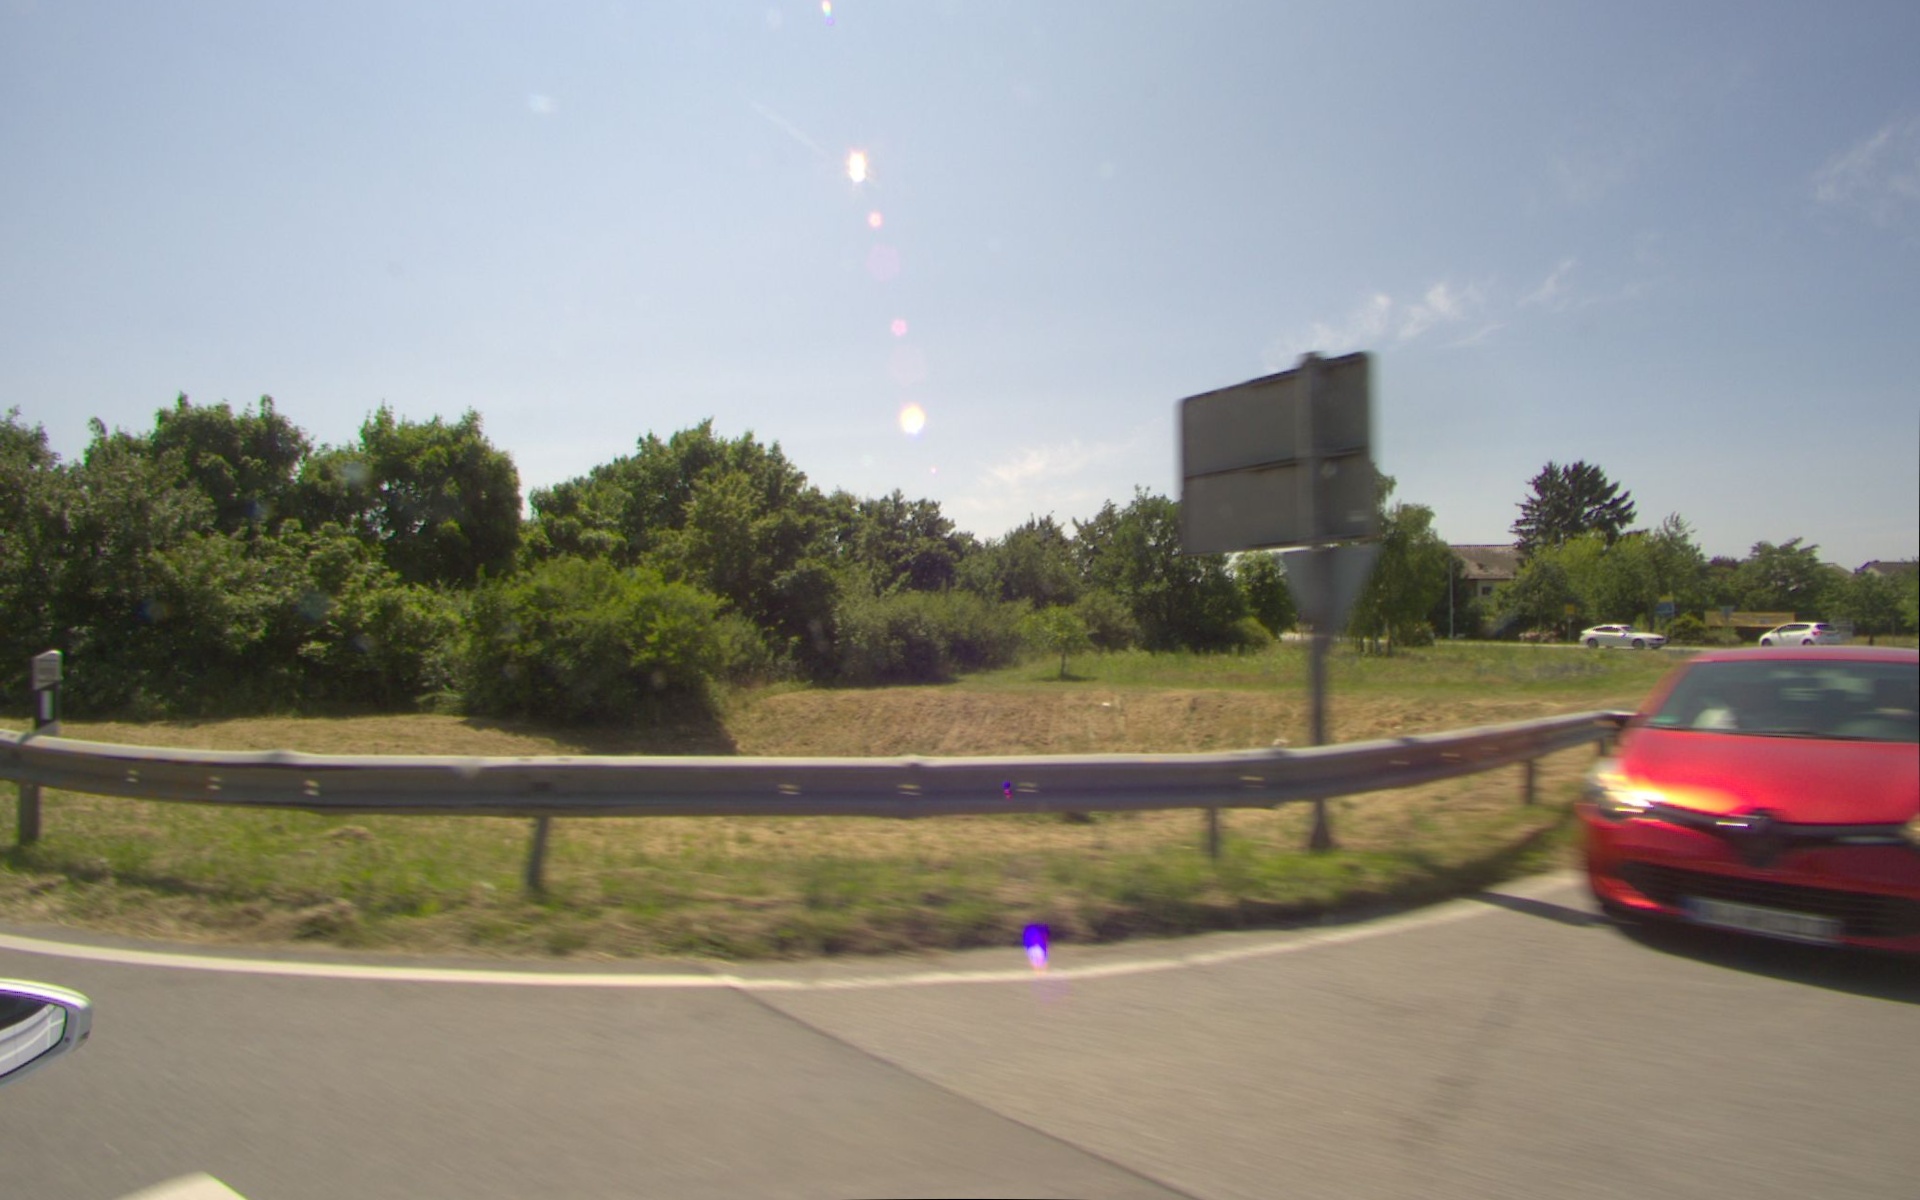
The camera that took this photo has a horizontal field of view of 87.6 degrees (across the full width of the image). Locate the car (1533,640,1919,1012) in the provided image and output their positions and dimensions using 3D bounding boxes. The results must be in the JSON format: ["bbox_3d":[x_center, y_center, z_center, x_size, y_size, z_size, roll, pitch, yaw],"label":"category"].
[{"bbox_3d":[4.875,0.953,5.703,4.127,1.436,1.762,2,-3,-44],"label":"car"}]

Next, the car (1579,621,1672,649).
[{"bbox_3d":[41.393,2.176,62.426,1.618,1.644,4.751,1,-1,-23],"label":"car"}]

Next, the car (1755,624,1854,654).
[{"bbox_3d":[48.723,2.199,57.891,2.031,1.644,4.143,0,-1,-4],"label":"car"}]

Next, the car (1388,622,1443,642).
[{"bbox_3d":[37.914,2.637,83.364,1.621,1.644,3.980,1,-1,-29],"label":"car"}]
